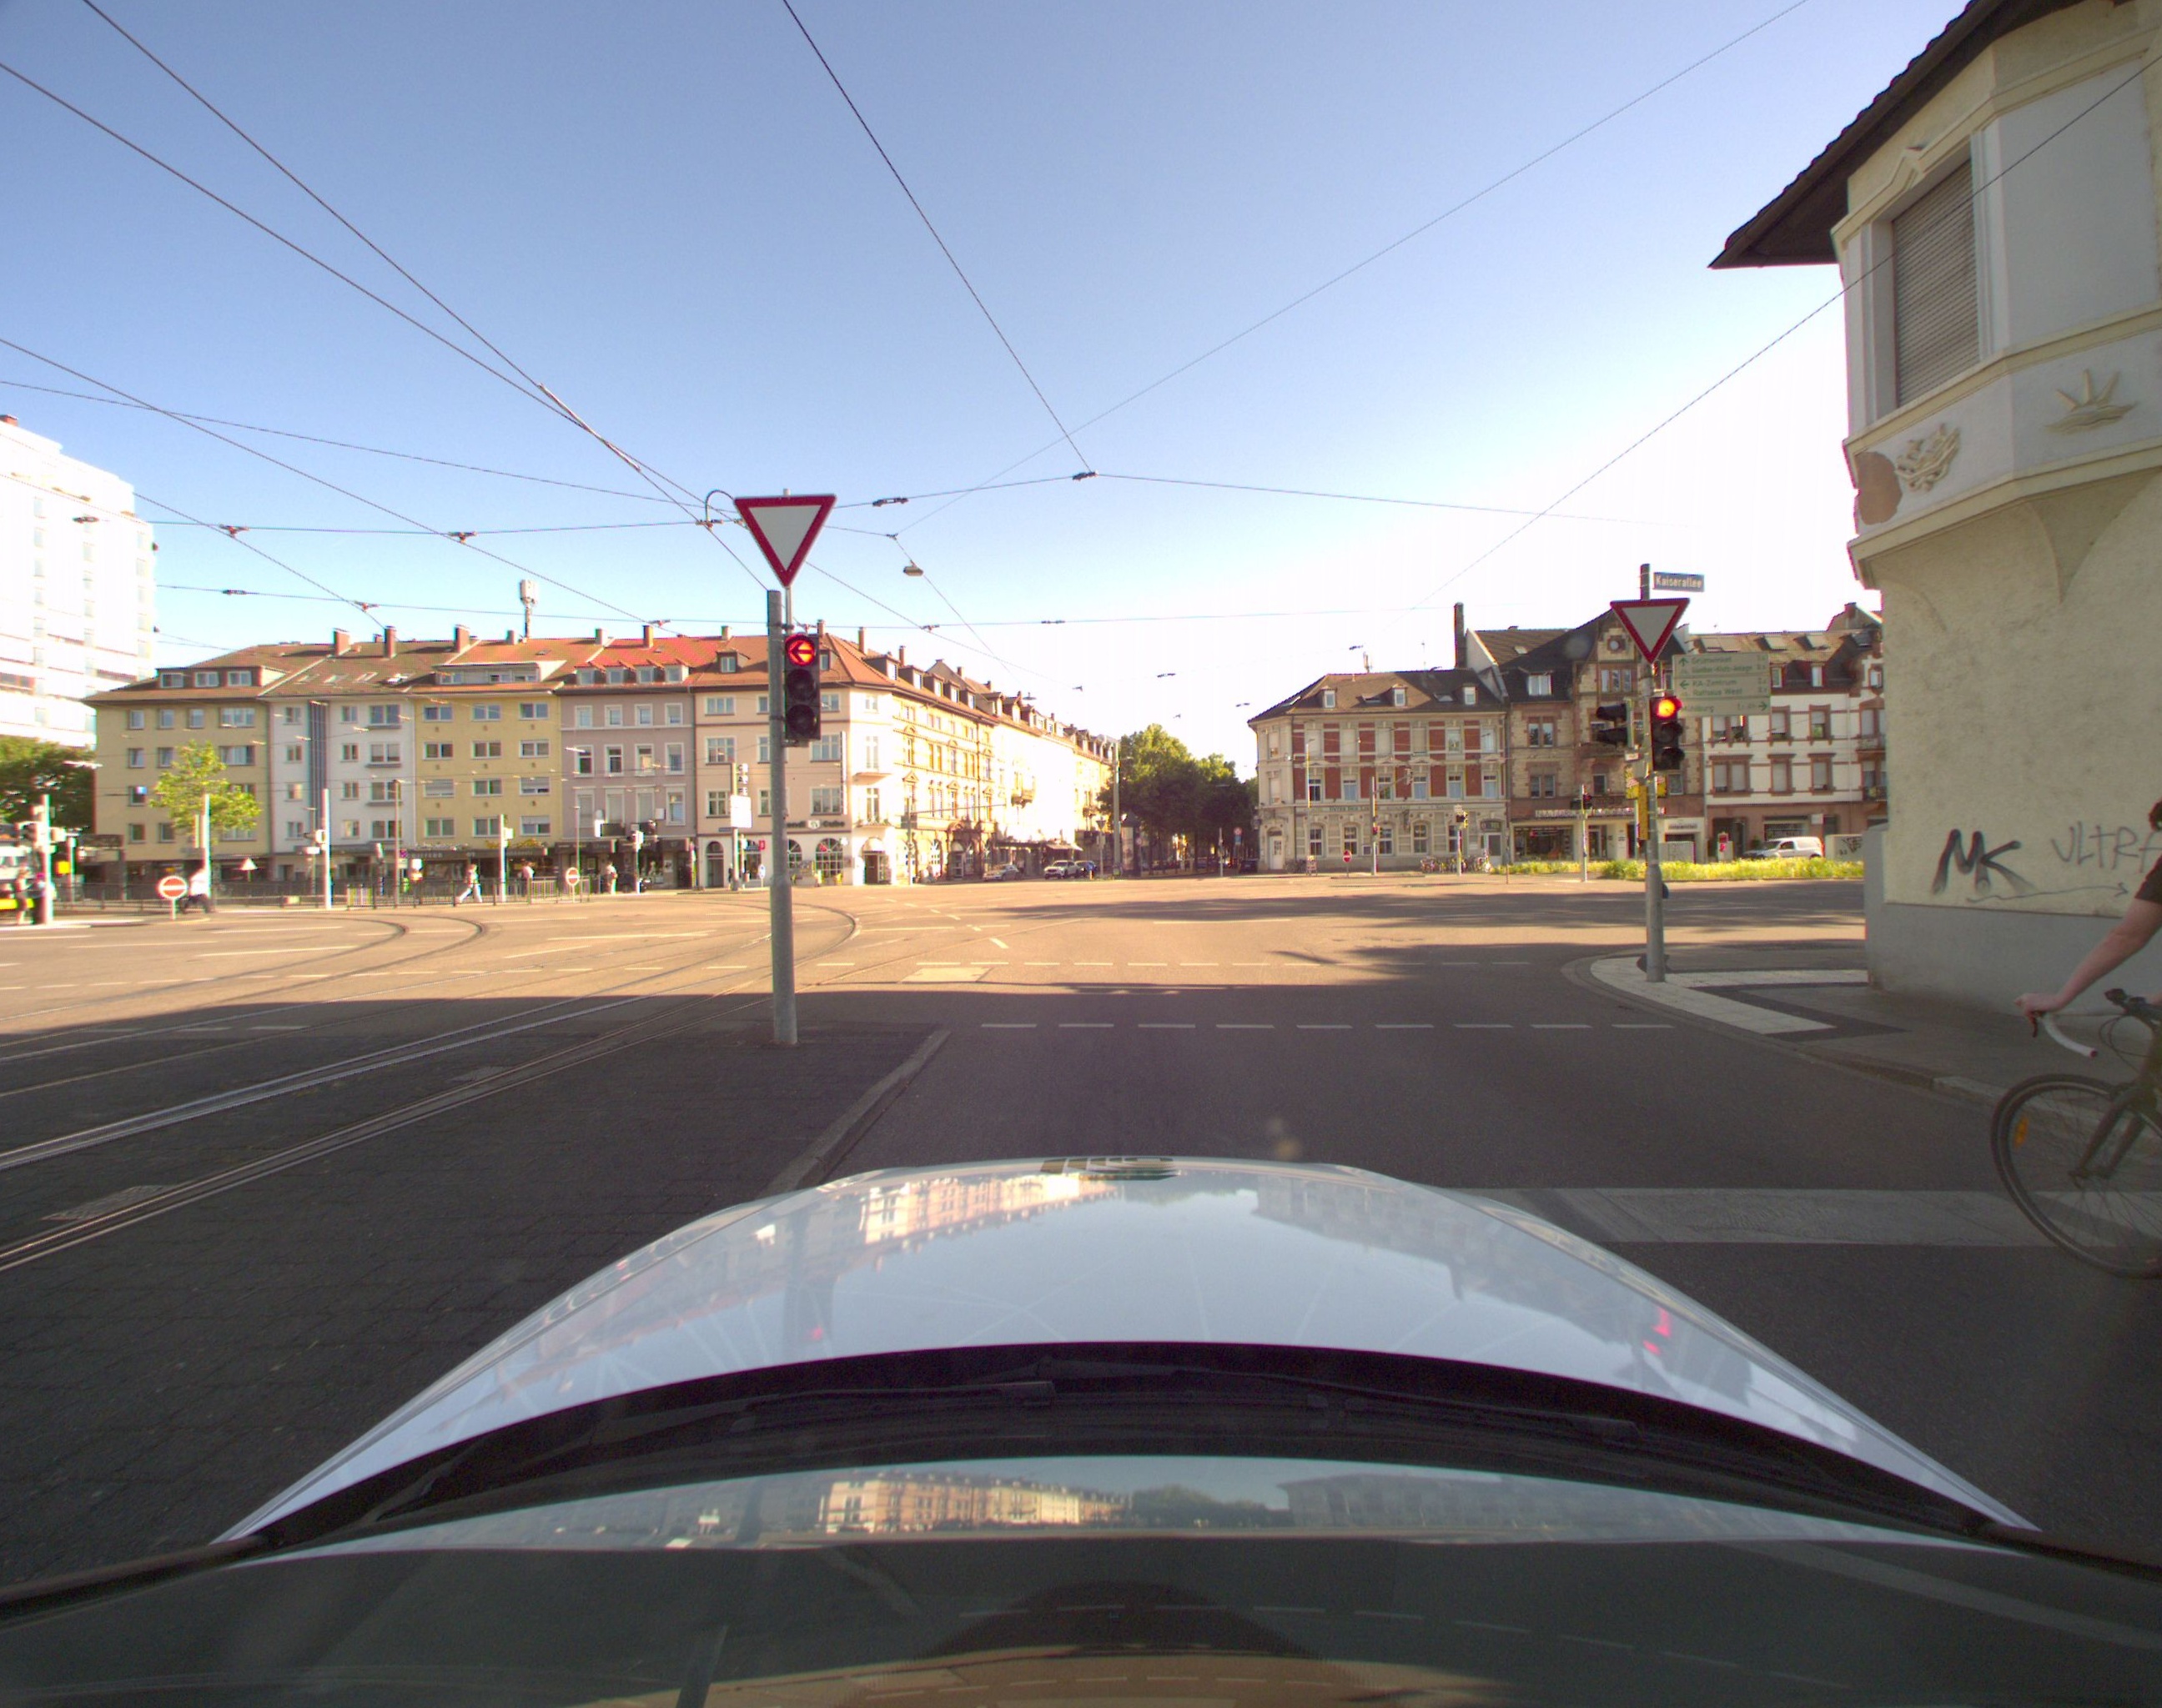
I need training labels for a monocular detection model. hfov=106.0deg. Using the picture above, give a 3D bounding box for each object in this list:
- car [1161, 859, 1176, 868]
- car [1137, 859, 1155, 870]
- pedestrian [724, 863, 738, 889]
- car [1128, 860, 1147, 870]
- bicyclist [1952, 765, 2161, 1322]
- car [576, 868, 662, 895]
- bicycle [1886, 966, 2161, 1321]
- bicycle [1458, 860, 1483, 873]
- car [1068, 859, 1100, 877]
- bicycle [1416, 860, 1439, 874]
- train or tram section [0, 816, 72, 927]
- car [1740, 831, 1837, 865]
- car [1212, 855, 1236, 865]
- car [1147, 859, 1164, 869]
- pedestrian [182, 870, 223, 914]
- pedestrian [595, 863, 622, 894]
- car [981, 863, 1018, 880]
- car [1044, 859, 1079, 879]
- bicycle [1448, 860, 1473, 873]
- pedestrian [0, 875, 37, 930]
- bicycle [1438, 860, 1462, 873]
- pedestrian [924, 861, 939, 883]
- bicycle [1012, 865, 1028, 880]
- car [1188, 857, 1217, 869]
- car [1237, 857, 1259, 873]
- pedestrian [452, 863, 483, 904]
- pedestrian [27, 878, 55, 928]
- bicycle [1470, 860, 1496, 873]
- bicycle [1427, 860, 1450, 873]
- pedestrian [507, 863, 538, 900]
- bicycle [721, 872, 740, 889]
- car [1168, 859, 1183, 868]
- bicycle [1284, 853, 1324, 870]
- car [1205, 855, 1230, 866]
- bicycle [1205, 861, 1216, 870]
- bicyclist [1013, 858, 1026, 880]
[{"bbox_3d":[14.037,1.508,130.608,1.664,1.354,3.608,-2,0,19],"label":"car"},{"bbox_3d":[9.176,1.497,115.446,1.664,1.354,3.608,-2,0,19],"label":"car"},{"bbox_3d":[-22.805,1.434,53.019,0.580,1.670,0.753,0,-1,2],"label":"pedestrian"},{"bbox_3d":[7.701,1.494,111.322,1.664,1.354,3.608,-2,0,19],"label":"car"},{"bbox_3d":[3.570,0.575,2.500,0.570,1.701,1.117,-1,0,2],"label":"bicyclist"},{"bbox_3d":[-30.367,1.791,53.640,4.347,1.711,2.308,0,-1,4],"label":"car"},{"bbox_3d":[3.594,0.956,2.509,0.516,0.970,1.750,-1,0,2],"label":"bicycle"},{"bbox_3d":[25.203,0.805,52.701,0.656,0.840,2.162,0,-1,3],"label":"bicycle"},{"bbox_3d":[0.307,1.244,73.770,1.664,1.483,3.967,-2,0,19],"label":"car"},{"bbox_3d":[22.424,0.826,52.695,0.656,0.840,2.162,0,-1,3],"label":"bicycle"},{"bbox_3d":[-43.745,0.764,28.679,12.961,3.814,2.943,-1,0,1],"label":"train or tram section"},{"bbox_3d":[45.441,-0.381,52.398,4.406,2.013,2.002,-1,0,4],"label":"car"},{"bbox_3d":[23.359,0.972,133.153,3.549,1.648,1.691,-2,0,19],"label":"car"},{"bbox_3d":[11.246,1.514,122.363,1.664,1.354,3.608,-2,0,19],"label":"car"},{"bbox_3d":[-32.115,1.385,29.776,0.657,1.577,0.889,-1,-1,29],"label":"pedestrian"},{"bbox_3d":[-24.697,1.288,42.573,0.842,1.577,0.836,-1,-1,11],"label":"pedestrian"},{"bbox_3d":[-6.710,1.427,67.227,1.664,1.354,3.608,-2,0,19],"label":"car"},{"bbox_3d":[-1.606,1.217,67.510,1.664,1.483,3.789,-2,0,19],"label":"car"},{"bbox_3d":[24.566,0.811,52.746,0.656,0.840,2.162,0,-1,3],"label":"bicycle"},{"bbox_3d":[-32.924,1.499,25.243,0.456,1.644,0.643,-1,1,38],"label":"pedestrian"},{"bbox_3d":[23.883,0.816,52.739,0.656,0.840,2.162,0,-1,3],"label":"bicycle"},{"bbox_3d":[-11.464,1.344,62.518,0.770,1.670,0.834,-1,-1,17],"label":"pedestrian"},{"bbox_3d":[-4.895,1.486,65.535,0.696,1.118,1.642,-1,-1,16],"label":"bicycle"},{"bbox_3d":[17.207,1.262,115.454,3.870,1.648,1.691,-2,0,19],"label":"car"},{"bbox_3d":[16.904,1.100,82.333,1.664,1.483,3.967,-2,0,19],"label":"car"},{"bbox_3d":[-24.519,1.170,32.533,0.545,1.577,0.838,-1,-1,29],"label":"pedestrian"},{"bbox_3d":[-31.919,1.498,24.994,0.456,1.505,0.485,-1,1,38],"label":"pedestrian"},{"bbox_3d":[26.006,0.800,52.715,0.656,0.840,2.162,0,-1,3],"label":"bicycle"},{"bbox_3d":[23.159,0.821,52.754,0.656,0.840,2.162,0,-1,3],"label":"bicycle"},{"bbox_3d":[-24.231,1.196,35.333,0.720,1.577,0.836,-1,-1,11],"label":"pedestrian"},{"bbox_3d":[-22.805,1.727,52.982,0.570,1.077,1.497,0,-1,2],"label":"bicycle"},{"bbox_3d":[15.725,1.527,135.601,1.664,1.354,3.608,-2,0,19],"label":"car"},{"bbox_3d":[15.602,0.502,57.058,2.547,1.174,0.818,0,-1,-1],"label":"bicycle"},{"bbox_3d":[21.453,1.065,127.719,3.549,1.648,1.691,-2,0,19],"label":"car"},{"bbox_3d":[15.771,1.396,99.279,0.636,1.021,1.839,0,-1,-12],"label":"bicycle"},{"bbox_3d":[-4.942,1.211,65.415,0.772,1.803,1.060,-1,-1,16],"label":"bicyclist"}]
